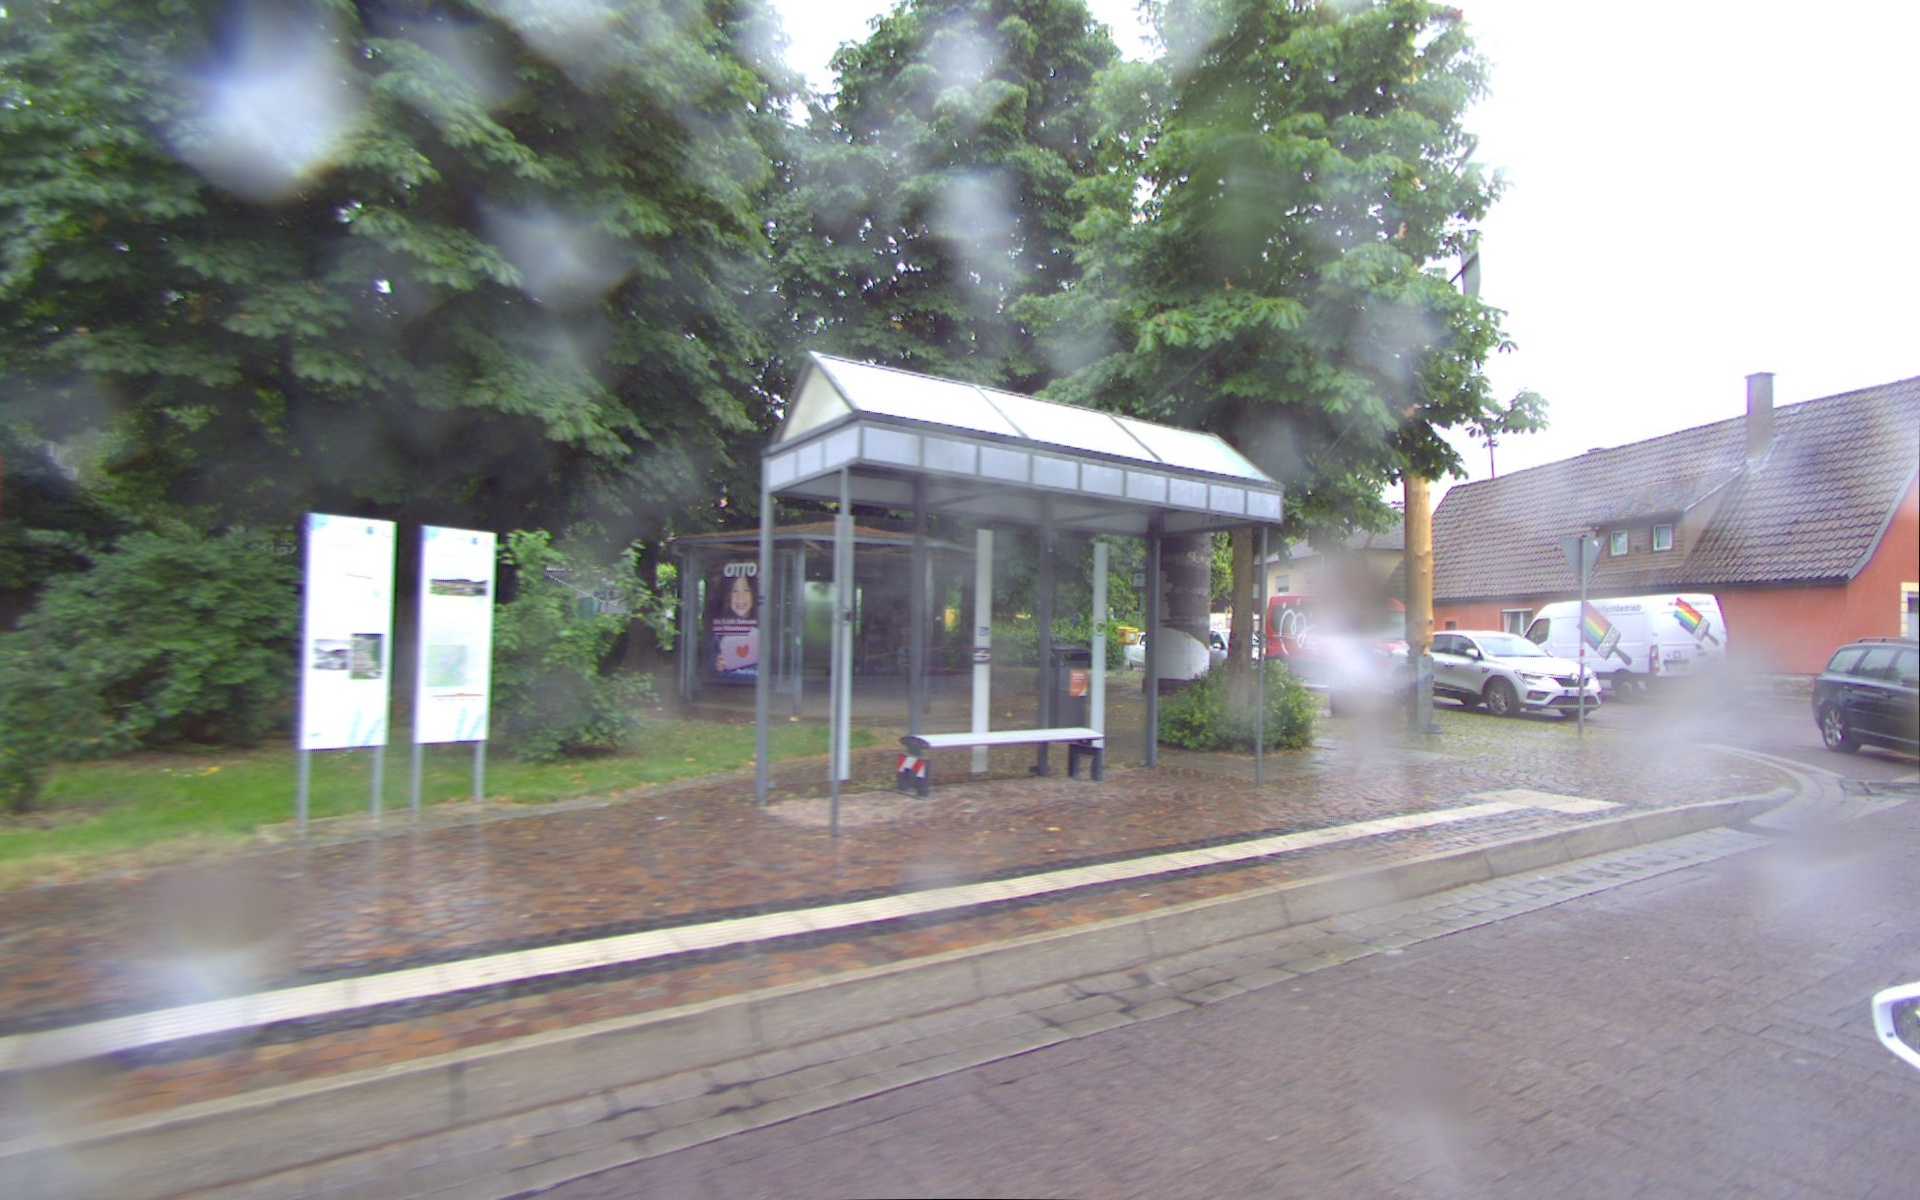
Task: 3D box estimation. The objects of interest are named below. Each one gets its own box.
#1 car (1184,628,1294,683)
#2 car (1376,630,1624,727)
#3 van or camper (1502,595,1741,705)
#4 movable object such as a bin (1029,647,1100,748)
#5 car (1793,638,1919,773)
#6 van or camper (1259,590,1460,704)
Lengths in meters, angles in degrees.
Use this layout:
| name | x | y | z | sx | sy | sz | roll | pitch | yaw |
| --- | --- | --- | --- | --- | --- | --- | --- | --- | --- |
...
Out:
| name | x | y | z | sx | sy | sz | roll | pitch | yaw |
| --- | --- | --- | --- | --- | --- | --- | --- | --- | --- |
| car | 8.613 | 1.715 | 31.292 | 1.769 | 1.570 | 3.805 | 2 | -3 | -11 |
| car | 10.339 | 1.449 | 19.681 | 1.849 | 1.570 | 4.451 | 2 | -1 | -12 |
| van or camper | 16.348 | 1.219 | 25.274 | 2.170 | 2.467 | 5.155 | 0 | -2 | -7 |
| movable object such as a bin | 1.244 | 1.149 | 11.977 | 0.599 | 1.161 | 0.558 | 4 | -4 | -35 |
| car | 11.742 | 1.178 | 11.615 | 1.813 | 1.496 | 4.315 | -1 | -3 | 19 |
| van or camper | 9.810 | 1.093 | 25.378 | 2.115 | 2.506 | 5.871 | 2 | -1 | -7 |
